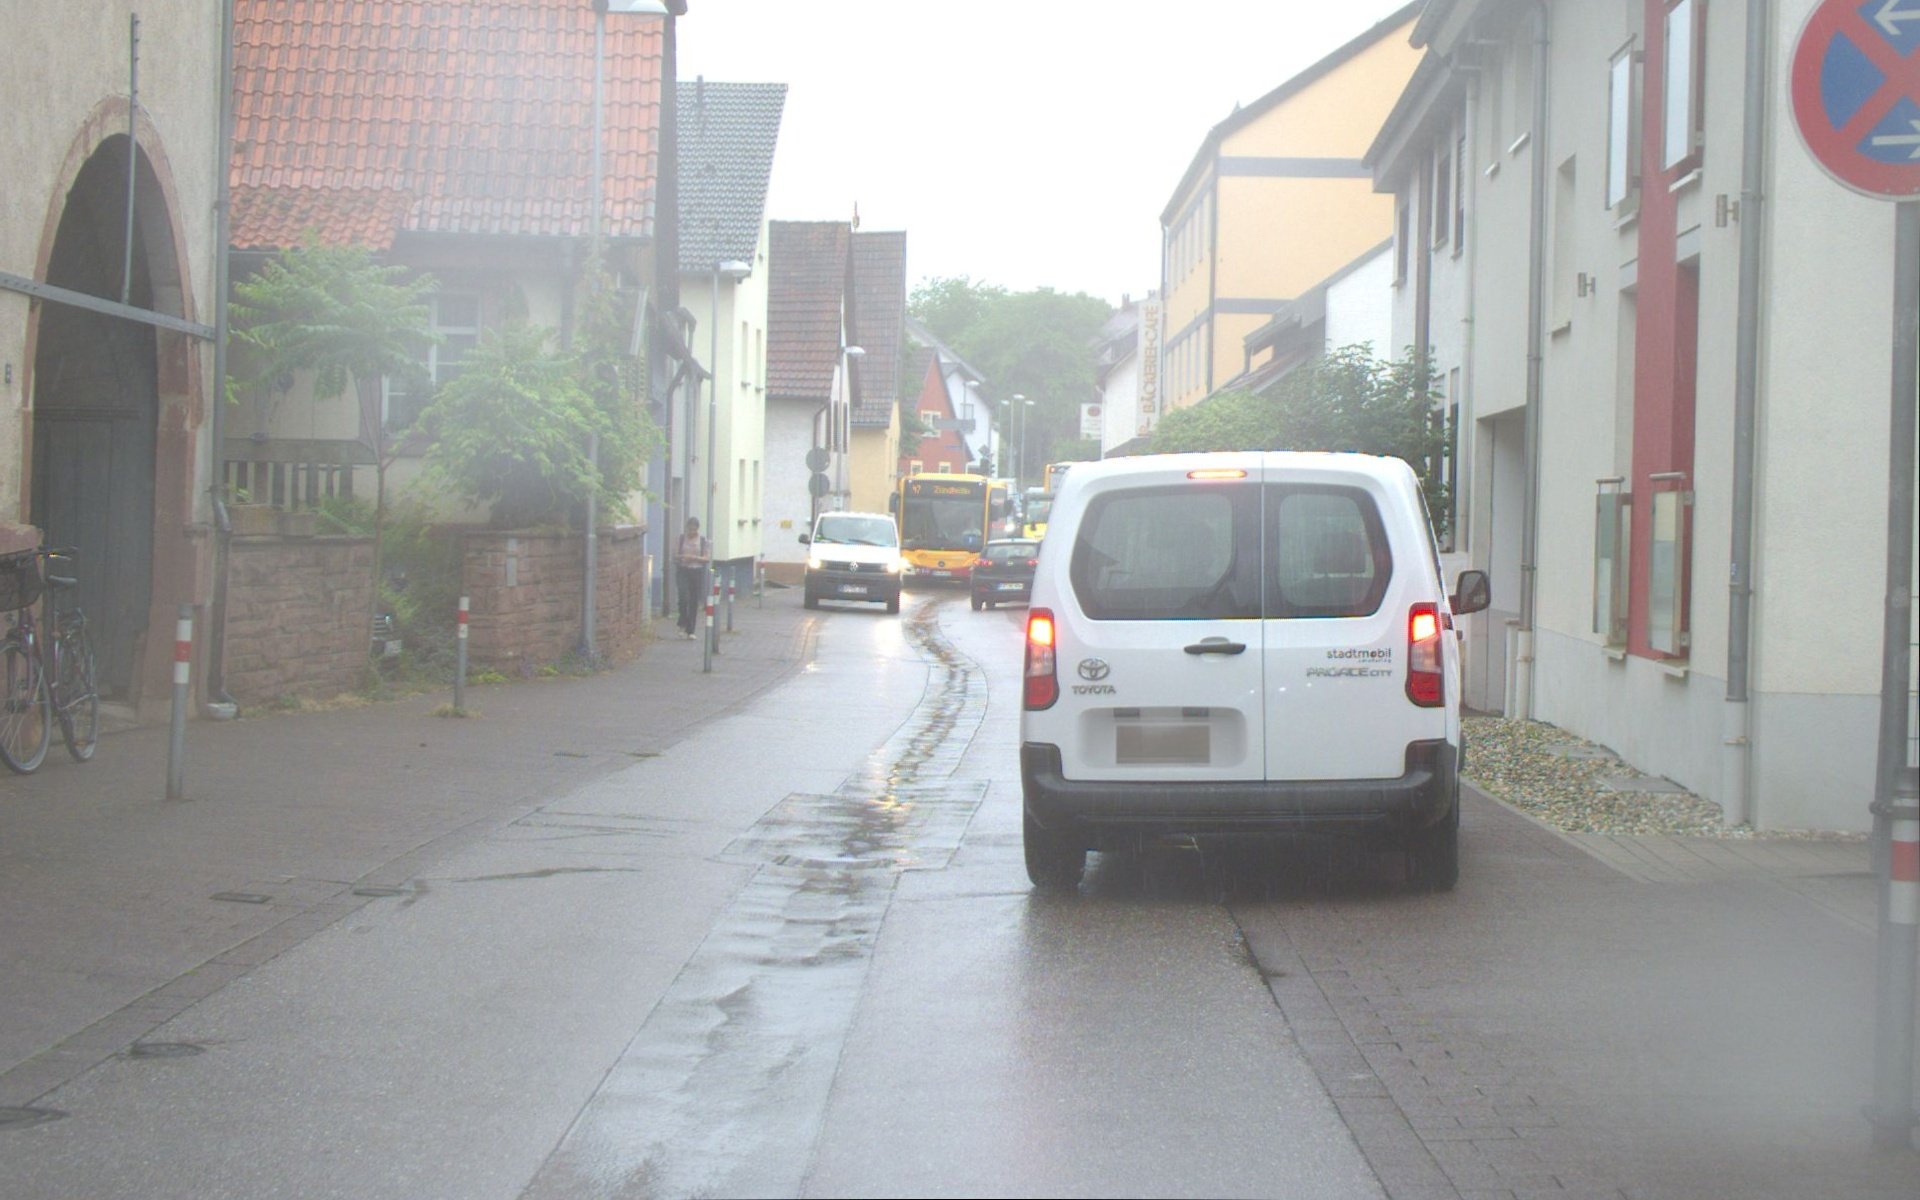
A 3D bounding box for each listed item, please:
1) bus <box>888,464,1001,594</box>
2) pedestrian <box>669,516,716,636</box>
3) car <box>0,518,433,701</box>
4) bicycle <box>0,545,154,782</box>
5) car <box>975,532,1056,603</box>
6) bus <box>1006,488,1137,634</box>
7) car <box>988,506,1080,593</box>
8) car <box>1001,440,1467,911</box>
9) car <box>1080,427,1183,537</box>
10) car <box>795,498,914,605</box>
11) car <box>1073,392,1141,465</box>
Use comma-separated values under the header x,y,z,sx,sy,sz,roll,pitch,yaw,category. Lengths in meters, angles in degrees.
x,y,z,sx,sy,sz,roll,pitch,yaw,category
-0.370,-1.921,96.222,2.793,3.317,8.178,4,0,1,bus
-3.444,-0.308,44.236,0.567,1.525,0.569,0,1,-8,pedestrian
-6.315,0.057,28.607,3.528,1.371,1.594,2,1,4,car
-4.789,0.308,18.192,0.483,1.176,1.835,3,0,3,bicycle
1.179,-0.670,71.799,1.562,1.367,3.585,3,0,2,car
2.612,-0.916,82.427,2.793,3.169,8.178,4,0,1,bus
1.361,-0.916,63.025,1.562,1.475,3.585,3,0,2,car
1.251,0.273,15.346,1.795,1.812,4.101,0,0,6,car
3.398,-2.332,68.581,1.827,2.007,3.694,3,0,1,car
-2.043,-0.947,68.163,1.892,1.960,4.723,3,0,3,car
4.591,-5.357,107.648,1.994,2.007,4.000,3,0,2,car
